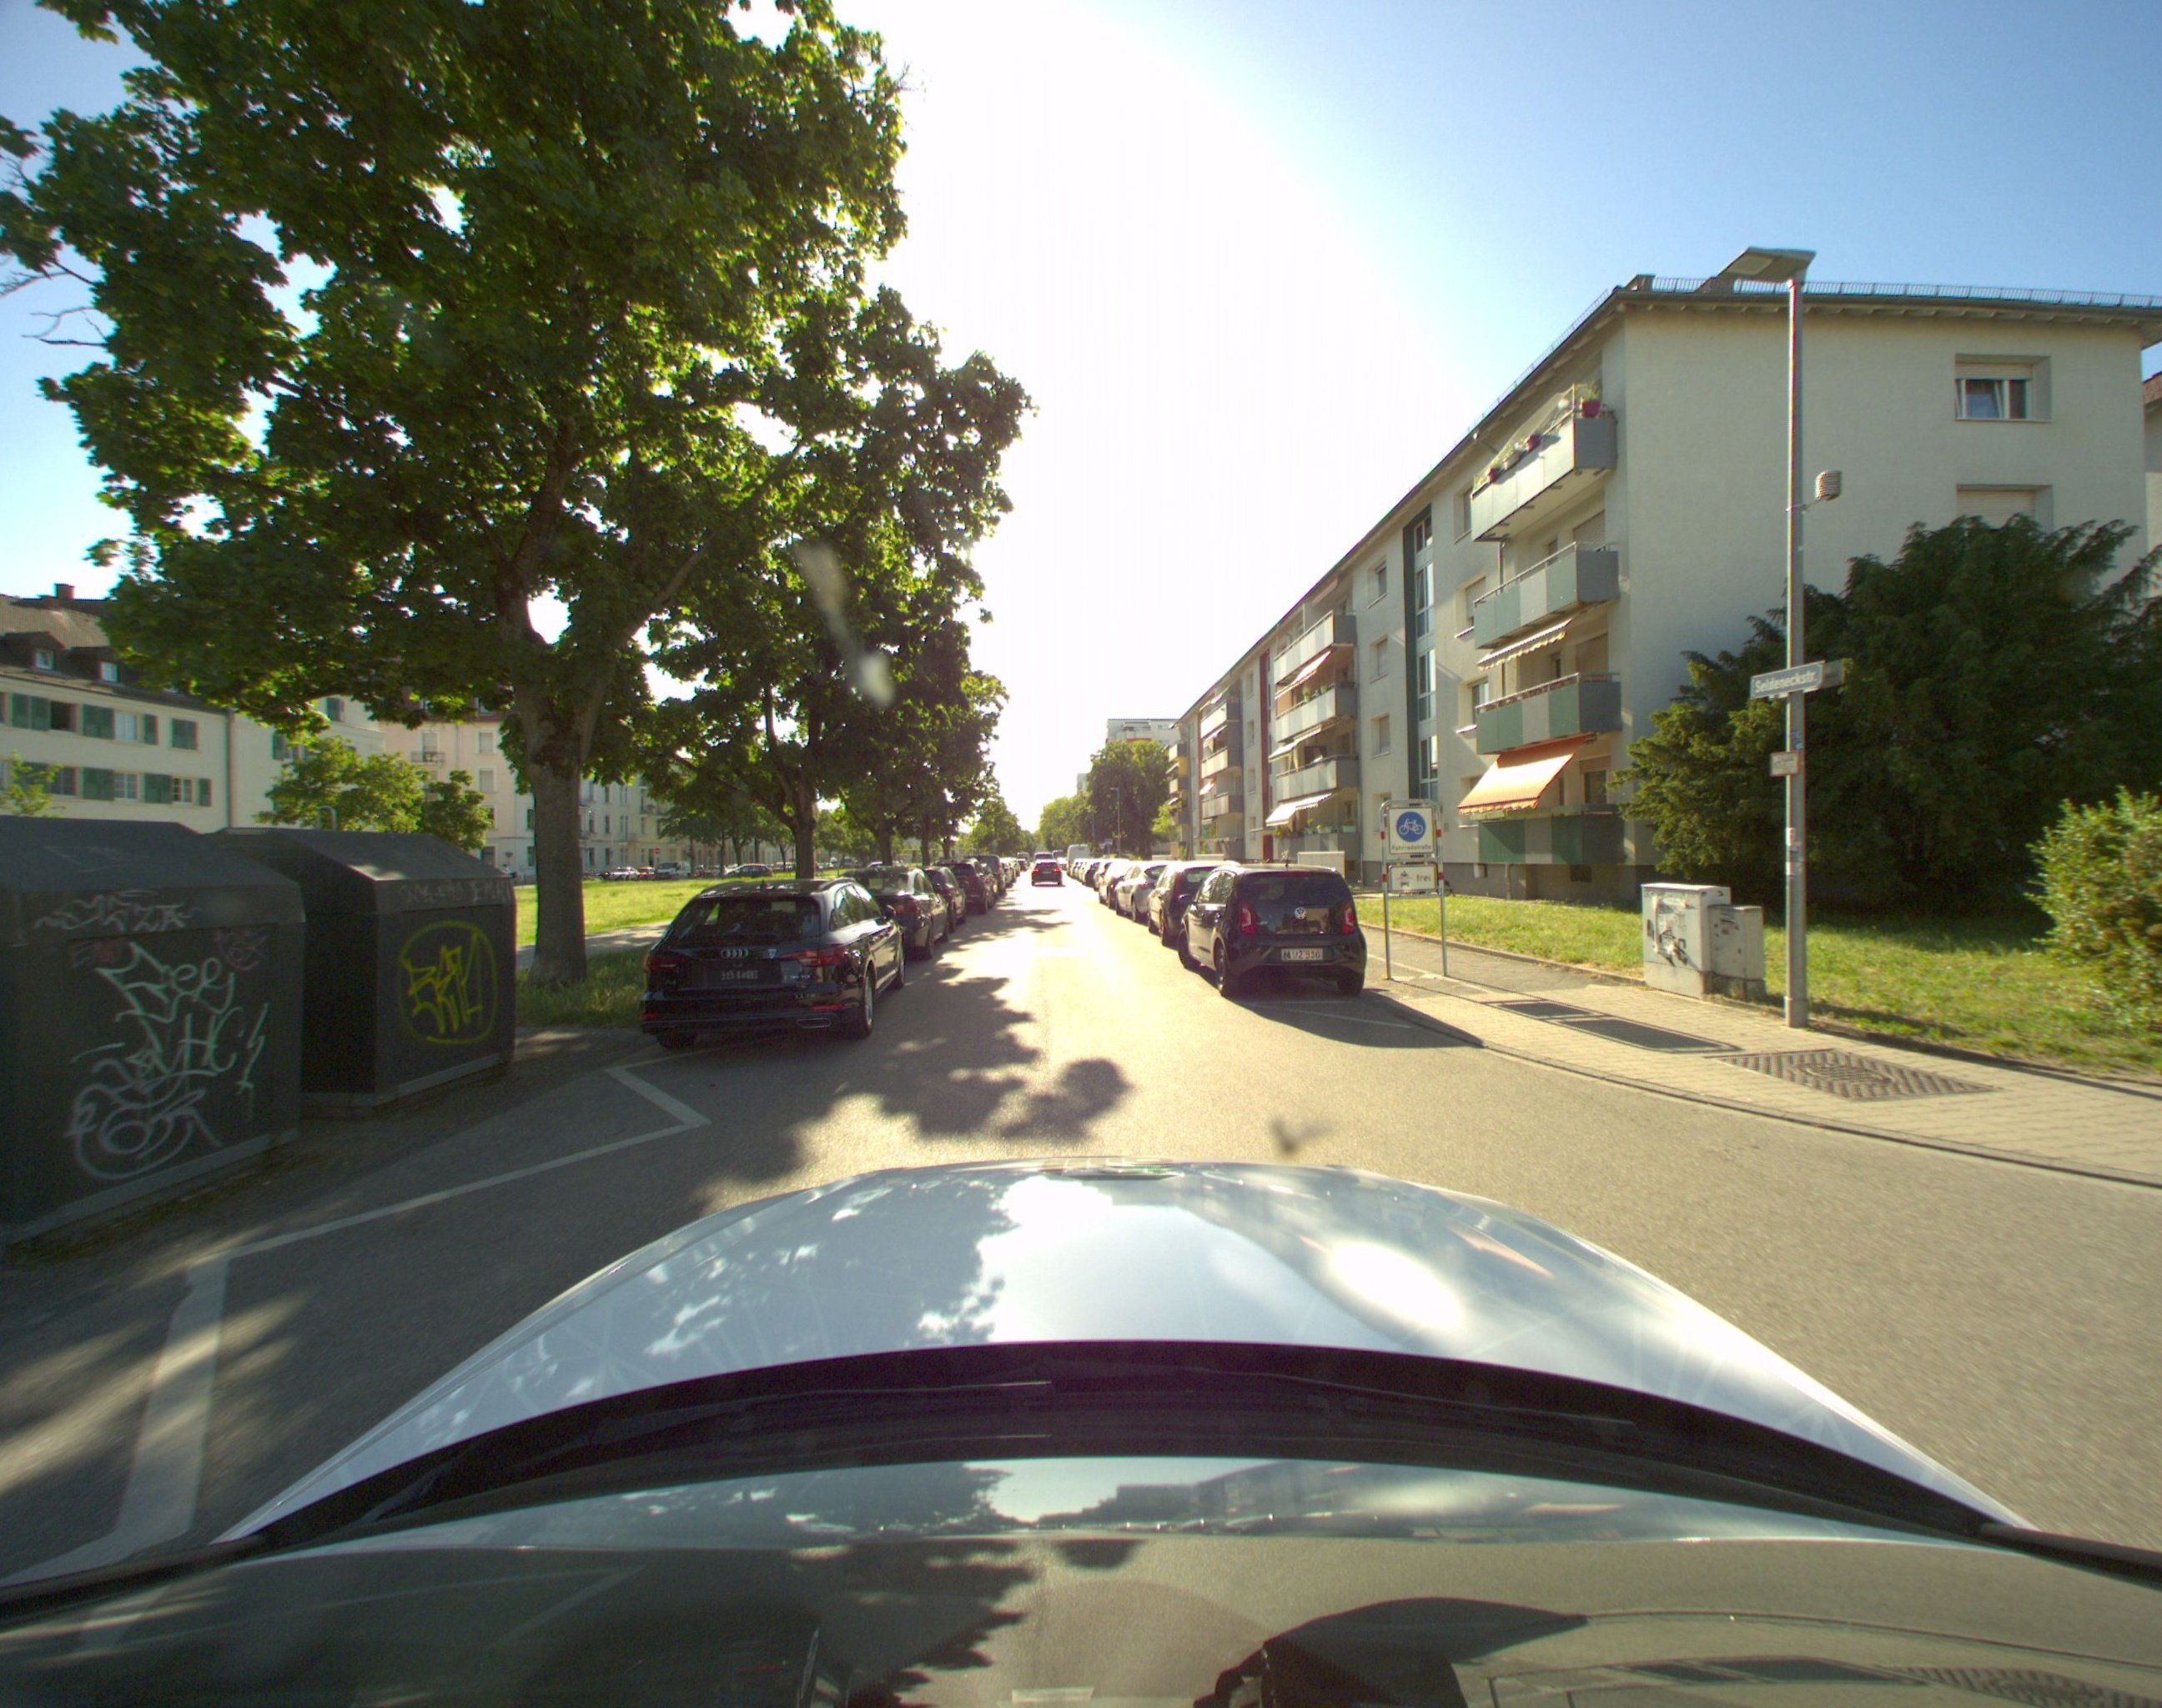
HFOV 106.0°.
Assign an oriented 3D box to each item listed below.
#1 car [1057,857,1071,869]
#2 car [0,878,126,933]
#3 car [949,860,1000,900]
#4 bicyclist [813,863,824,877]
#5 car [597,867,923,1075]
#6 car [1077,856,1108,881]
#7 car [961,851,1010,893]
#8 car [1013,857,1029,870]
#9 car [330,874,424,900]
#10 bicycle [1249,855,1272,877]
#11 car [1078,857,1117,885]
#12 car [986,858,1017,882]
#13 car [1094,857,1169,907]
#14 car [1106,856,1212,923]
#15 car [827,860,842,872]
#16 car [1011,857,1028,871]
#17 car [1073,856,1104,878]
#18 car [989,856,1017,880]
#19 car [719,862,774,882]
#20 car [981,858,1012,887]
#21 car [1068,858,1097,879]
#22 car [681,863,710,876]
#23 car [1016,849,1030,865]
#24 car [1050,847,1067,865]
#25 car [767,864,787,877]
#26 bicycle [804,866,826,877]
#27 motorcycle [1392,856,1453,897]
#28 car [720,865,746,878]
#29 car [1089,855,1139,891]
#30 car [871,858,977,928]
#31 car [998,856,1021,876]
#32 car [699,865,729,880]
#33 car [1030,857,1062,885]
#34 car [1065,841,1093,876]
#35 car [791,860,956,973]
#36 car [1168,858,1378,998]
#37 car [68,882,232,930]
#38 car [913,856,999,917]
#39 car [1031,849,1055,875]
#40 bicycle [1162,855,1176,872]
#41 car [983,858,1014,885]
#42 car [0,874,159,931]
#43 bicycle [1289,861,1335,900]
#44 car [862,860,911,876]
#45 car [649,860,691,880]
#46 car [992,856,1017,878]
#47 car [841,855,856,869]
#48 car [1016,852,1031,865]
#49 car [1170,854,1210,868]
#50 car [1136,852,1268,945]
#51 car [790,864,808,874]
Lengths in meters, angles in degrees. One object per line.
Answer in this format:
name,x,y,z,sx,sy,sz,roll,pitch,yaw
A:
car,-2.261,1.152,105.499,1.775,1.371,4.123,-1,0,-2
car,-38.822,1.858,29.332,2.444,1.820,5.449,-1,0,-2
car,-4.036,0.950,31.433,1.534,1.428,4.084,-1,0,-2
bicyclist,-25.476,1.565,78.985,0.880,1.364,0.618,-1,0,-28
car,-2.881,0.905,8.600,1.832,1.452,4.959,-1,0,-5
car,0.701,0.890,51.842,1.717,1.435,4.148,-2,0,-3
car,-4.311,0.808,37.501,1.860,1.785,4.985,-1,-1,-3
car,-7.321,1.184,100.001,1.773,1.495,3.871,-3,-1,-2
car,-45.637,2.107,52.953,1.990,1.485,4.951,-2,0,-4
bicycle,9.199,0.592,41.780,0.522,1.071,2.007,-3,0,-4
car,0.895,0.916,46.418,1.696,1.435,4.464,-3,0,-5
car,-5.410,1.060,55.873,1.870,1.519,4.463,-3,0,-4
car,1.553,0.852,26.932,1.839,1.473,5.058,-1,0,-4
car,1.929,0.843,21.565,1.871,1.534,4.483,-1,0,-7
car,-45.807,2.168,151.479,1.692,2.213,4.998,-1,0,-6
car,-7.194,1.182,95.484,1.744,1.425,3.913,-3,-1,-2
car,0.495,0.895,57.210,1.873,1.475,4.136,-1,0,-3
car,-5.774,1.014,60.885,1.816,1.610,4.733,-3,0,-3
car,-29.939,1.589,72.965,4.359,1.576,1.912,-2,0,-28
car,-4.790,1.004,46.291,1.584,1.492,3.679,-3,0,-5
car,0.098,1.088,61.873,1.846,1.466,4.195,0,0,-5
car,-42.031,1.650,88.870,1.692,1.279,3.519,-1,0,-6
car,-9.393,0.524,132.507,2.093,2.496,4.123,-1,0,-2
car,-3.601,0.288,126.984,2.160,2.689,5.404,-1,0,-6
car,-43.778,2.342,117.224,1.629,1.686,4.073,-1,0,-6
bicycle,-25.747,1.682,78.888,1.987,1.016,0.652,-1,0,-29
motorcycle,10.083,0.660,24.133,0.583,1.151,2.029,-1,0,-12
car,-42.762,2.128,100.200,1.692,1.526,4.073,-1,0,-6
car,1.471,0.849,37.867,1.746,1.499,3.852,-2,0,-6
car,-3.583,0.866,19.233,1.875,1.419,3.800,-2,-1,-2
car,-6.391,1.056,73.463,1.752,1.647,4.284,-3,0,-2
car,-42.359,2.107,94.156,1.692,1.561,4.688,-1,0,-6
car,-1.981,0.968,47.201,1.775,1.531,3.997,0,0,-2
car,-0.228,0.381,69.834,2.137,2.713,6.836,-3,0,-2
car,-3.396,0.917,14.388,1.991,1.516,5.148,-2,0,-6
car,2.249,0.790,10.542,1.655,1.474,3.788,0,0,-3
car,-39.103,2.139,34.376,2.311,1.750,4.006,-1,0,-2
car,-3.741,0.920,25.178,2.021,1.625,4.753,-2,0,-2
car,-3.174,0.648,68.276,1.890,1.991,4.007,-3,0,-2
bicycle,6.385,0.705,59.248,0.594,1.176,2.010,-1,-2,-4
car,-5.108,1.061,50.719,1.752,1.492,4.660,-3,0,-5
car,-44.913,2.075,36.020,2.527,2.216,5.248,-1,0,-5
bicycle,6.717,0.749,23.766,0.718,1.077,1.895,-1,0,-2
car,-18.770,1.353,78.613,4.358,1.409,1.904,-1,2,-28
car,-42.077,1.598,83.483,2.079,1.872,5.088,-1,0,-6
car,-6.251,1.055,66.947,1.838,1.638,4.709,-3,0,-3
car,-46.793,1.659,163.884,1.913,2.744,5.613,-1,0,-6
car,-8.887,0.684,126.122,2.094,1.942,4.122,-1,0,-3
car,11.567,0.758,86.684,3.883,1.429,1.654,-1,0,-7
car,2.204,0.760,16.019,1.765,1.529,4.554,-1,0,-2
car,-44.472,2.397,128.521,1.690,1.429,3.771,-1,0,-2
